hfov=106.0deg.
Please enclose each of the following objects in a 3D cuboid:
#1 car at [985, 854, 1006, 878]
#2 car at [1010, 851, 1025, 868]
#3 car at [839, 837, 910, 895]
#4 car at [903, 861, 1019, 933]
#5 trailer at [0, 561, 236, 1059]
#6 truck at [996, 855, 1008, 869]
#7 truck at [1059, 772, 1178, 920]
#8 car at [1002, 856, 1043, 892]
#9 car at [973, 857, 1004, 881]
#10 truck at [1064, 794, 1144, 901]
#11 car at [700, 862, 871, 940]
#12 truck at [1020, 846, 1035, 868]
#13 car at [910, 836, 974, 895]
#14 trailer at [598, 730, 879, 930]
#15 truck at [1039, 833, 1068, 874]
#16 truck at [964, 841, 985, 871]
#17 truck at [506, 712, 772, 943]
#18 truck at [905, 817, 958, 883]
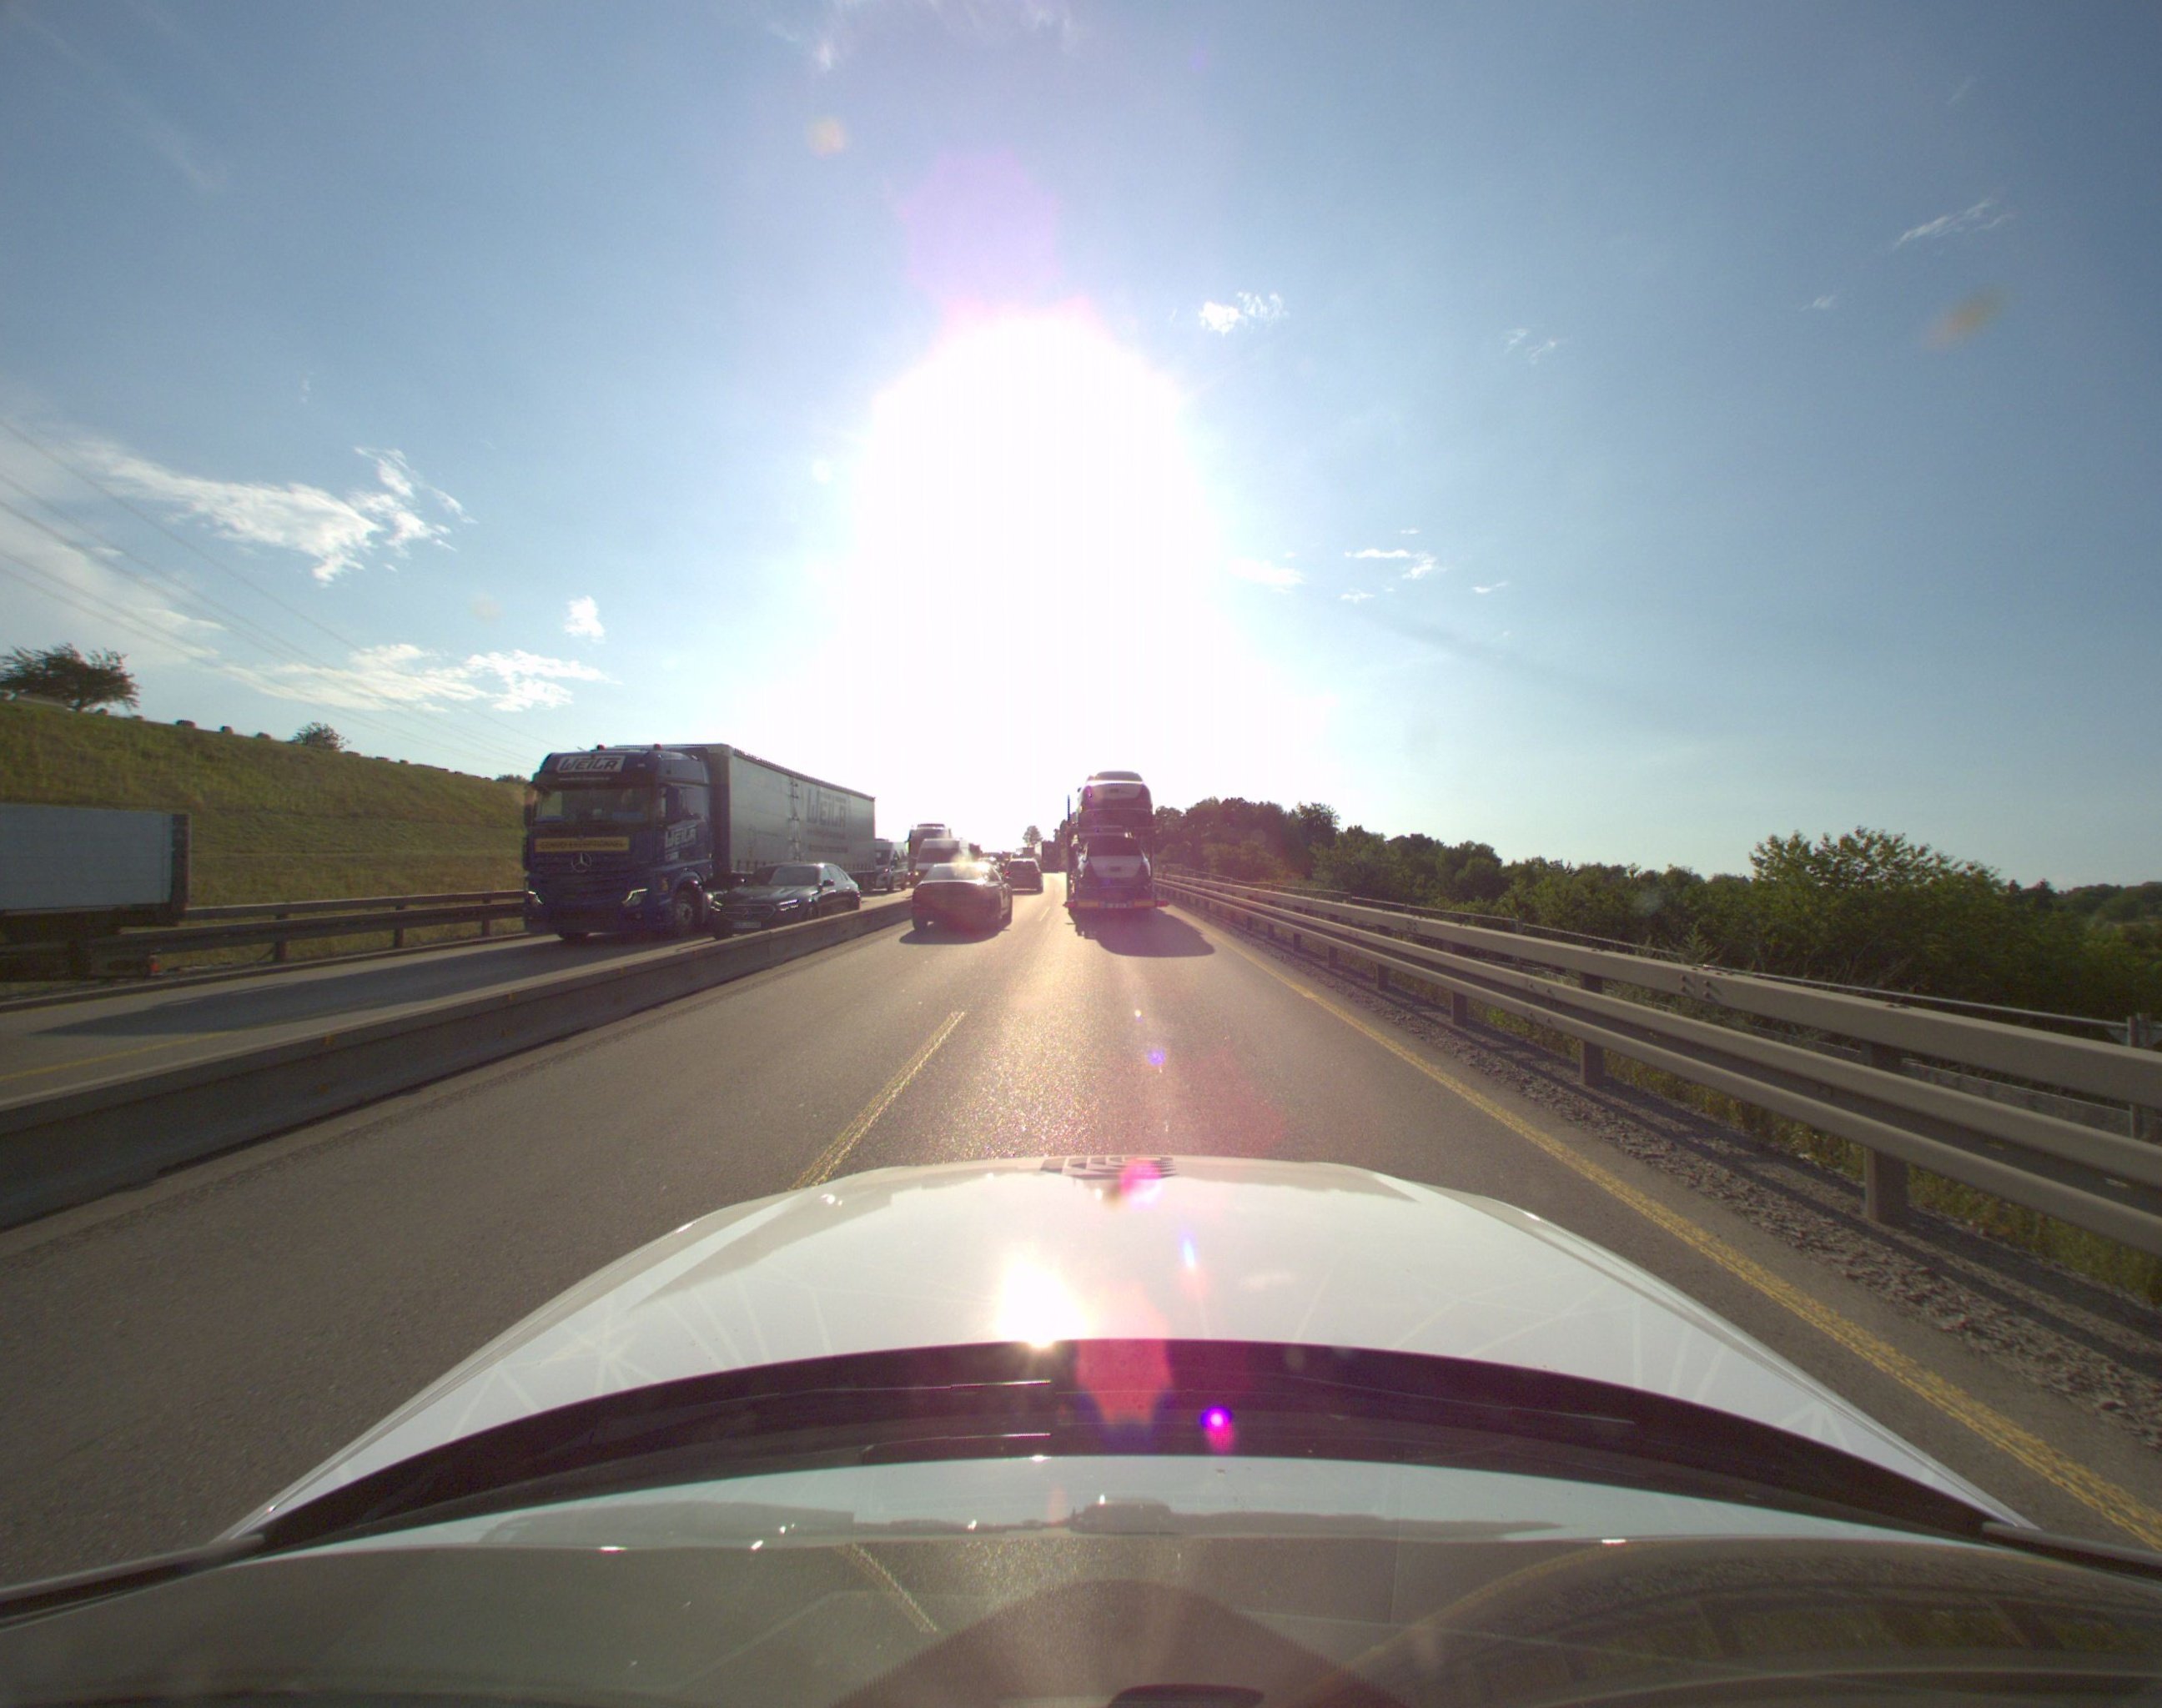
[{"bbox_3d":[-9.212,1.262,88.074,2.101,2.482,6.057,-1,-1,-4],"label":"car"},{"bbox_3d":[-9.456,0.850,121.627,1.915,2.492,5.406,-1,-1,-1],"label":"car"},{"bbox_3d":[-9.751,0.548,38.935,2.152,2.558,5.584,-1,-1,-2],"label":"car"},{"bbox_3d":[-2.645,0.902,19.124,1.928,1.399,4.960,-1,0,0],"label":"car"},{"bbox_3d":[-9.429,-0.364,0.759,2.511,3.725,13.980,-1,-1,1],"label":"trailer"},{"bbox_3d":[-18.671,1.913,192.934,2.585,3.170,6.668,-1,-1,-3],"label":"truck"},{"bbox_3d":[0.853,-0.147,24.797,2.790,3.497,10.601,-1,-1,-1],"label":"truck"},{"bbox_3d":[-2.733,0.920,38.818,1.686,1.596,3.999,-1,-1,0],"label":"car"},{"bbox_3d":[-6.913,1.104,61.066,1.865,1.694,4.593,-1,-1,-2],"label":"car"},{"bbox_3d":[0.780,-0.193,34.164,2.829,3.792,9.983,-1,-1,-1],"label":"truck"},{"bbox_3d":[-6.005,0.881,17.229,1.752,1.378,4.768,-1,-1,1],"label":"car"},{"bbox_3d":[-9.431,0.582,143.806,2.525,3.648,8.893,-1,-1,-3],"label":"truck"},{"bbox_3d":[-6.422,0.534,38.316,2.051,2.500,6.770,-1,-1,-2],"label":"car"},{"bbox_3d":[-8.928,-0.435,24.219,2.300,4.130,14.594,-1,-1,-1],"label":"trailer"},{"bbox_3d":[-3.864,0.014,111.061,3.282,5.237,9.914,-1,-1,-6],"label":"truck"},{"bbox_3d":[-13.864,0.348,105.630,2.313,3.607,11.934,-1,-1,-9],"label":"truck"},{"bbox_3d":[-8.937,-0.452,17.310,2.495,4.066,5.664,-1,-1,0],"label":"truck"},{"bbox_3d":[-9.726,-0.251,53.514,2.497,4.066,5.878,-1,-1,-2],"label":"truck"}]
